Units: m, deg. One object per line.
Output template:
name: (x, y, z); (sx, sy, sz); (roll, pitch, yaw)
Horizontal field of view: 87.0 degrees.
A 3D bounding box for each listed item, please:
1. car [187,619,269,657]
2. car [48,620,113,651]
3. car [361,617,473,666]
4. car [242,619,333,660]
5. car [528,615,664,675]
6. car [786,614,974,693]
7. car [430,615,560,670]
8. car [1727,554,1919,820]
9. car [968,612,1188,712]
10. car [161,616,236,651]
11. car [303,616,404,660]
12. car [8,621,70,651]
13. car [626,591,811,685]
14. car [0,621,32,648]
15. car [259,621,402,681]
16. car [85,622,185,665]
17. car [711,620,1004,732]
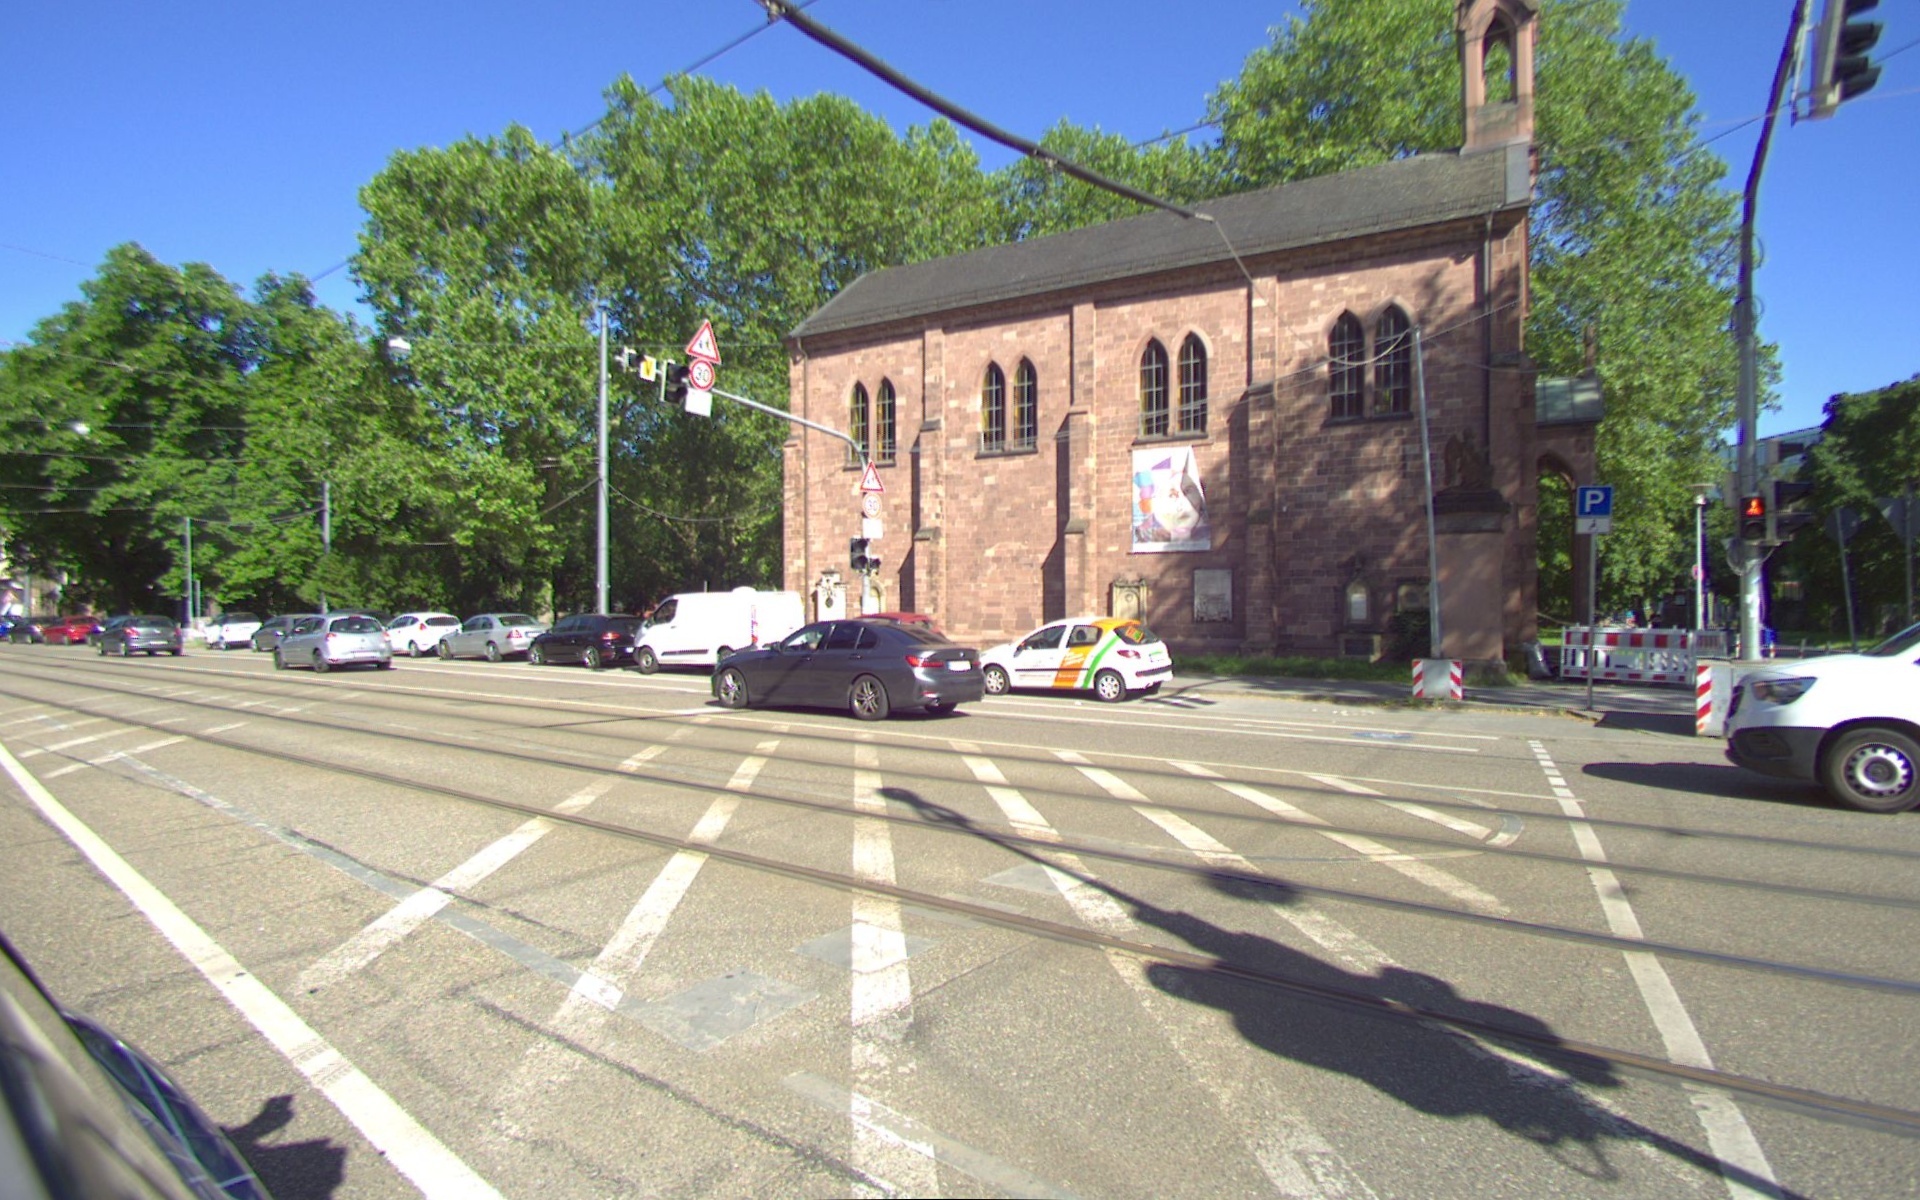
car: (-32.036, 1.626, 44.240); (4.300, 1.563, 1.774); (-1, -1, 38)
car: (-46.048, 1.821, 52.973); (4.300, 1.563, 1.774); (-1, -1, 38)
car: (-18.512, 1.361, 34.454); (4.300, 1.563, 1.774); (-1, -1, 38)
car: (-27.033, 1.540, 40.632); (4.300, 1.563, 1.774); (-1, -1, 38)
car: (-10.130, 1.205, 28.079); (3.853, 1.563, 1.774); (-1, -1, 37)
car: (-1.769, 1.094, 21.868); (3.853, 1.563, 1.774); (-1, -1, 37)
car: (-14.350, 1.266, 31.170); (4.298, 1.563, 1.774); (-1, -1, 36)
car: (8.498, 0.621, 7.367); (4.507, 1.905, 2.043); (-1, -2, 35)
car: (2.158, 1.084, 18.838); (3.671, 1.585, 1.759); (-1, 2, 37)
car: (-35.791, 1.533, 47.533); (4.300, 1.563, 1.774); (-1, -1, 38)
car: (-22.487, 1.366, 37.500); (4.300, 1.563, 1.774); (-1, -1, 38)
car: (-50.305, 1.919, 55.259); (4.300, 1.563, 1.774); (-1, -1, 38)
car: (-5.962, 0.886, 24.767); (4.583, 2.113, 1.899); (-1, -1, 36)
car: (-55.763, 1.986, 58.953); (4.300, 1.563, 1.774); (-1, -1, 38)
car: (-16.548, 1.277, 26.541); (4.369, 1.440, 1.776); (-1, -1, 38)
car: (-29.315, 1.494, 35.924); (4.369, 1.440, 1.776); (-1, -1, 38)
car: (-1.630, 1.033, 15.166); (4.369, 1.440, 1.776); (-1, -1, 38)
